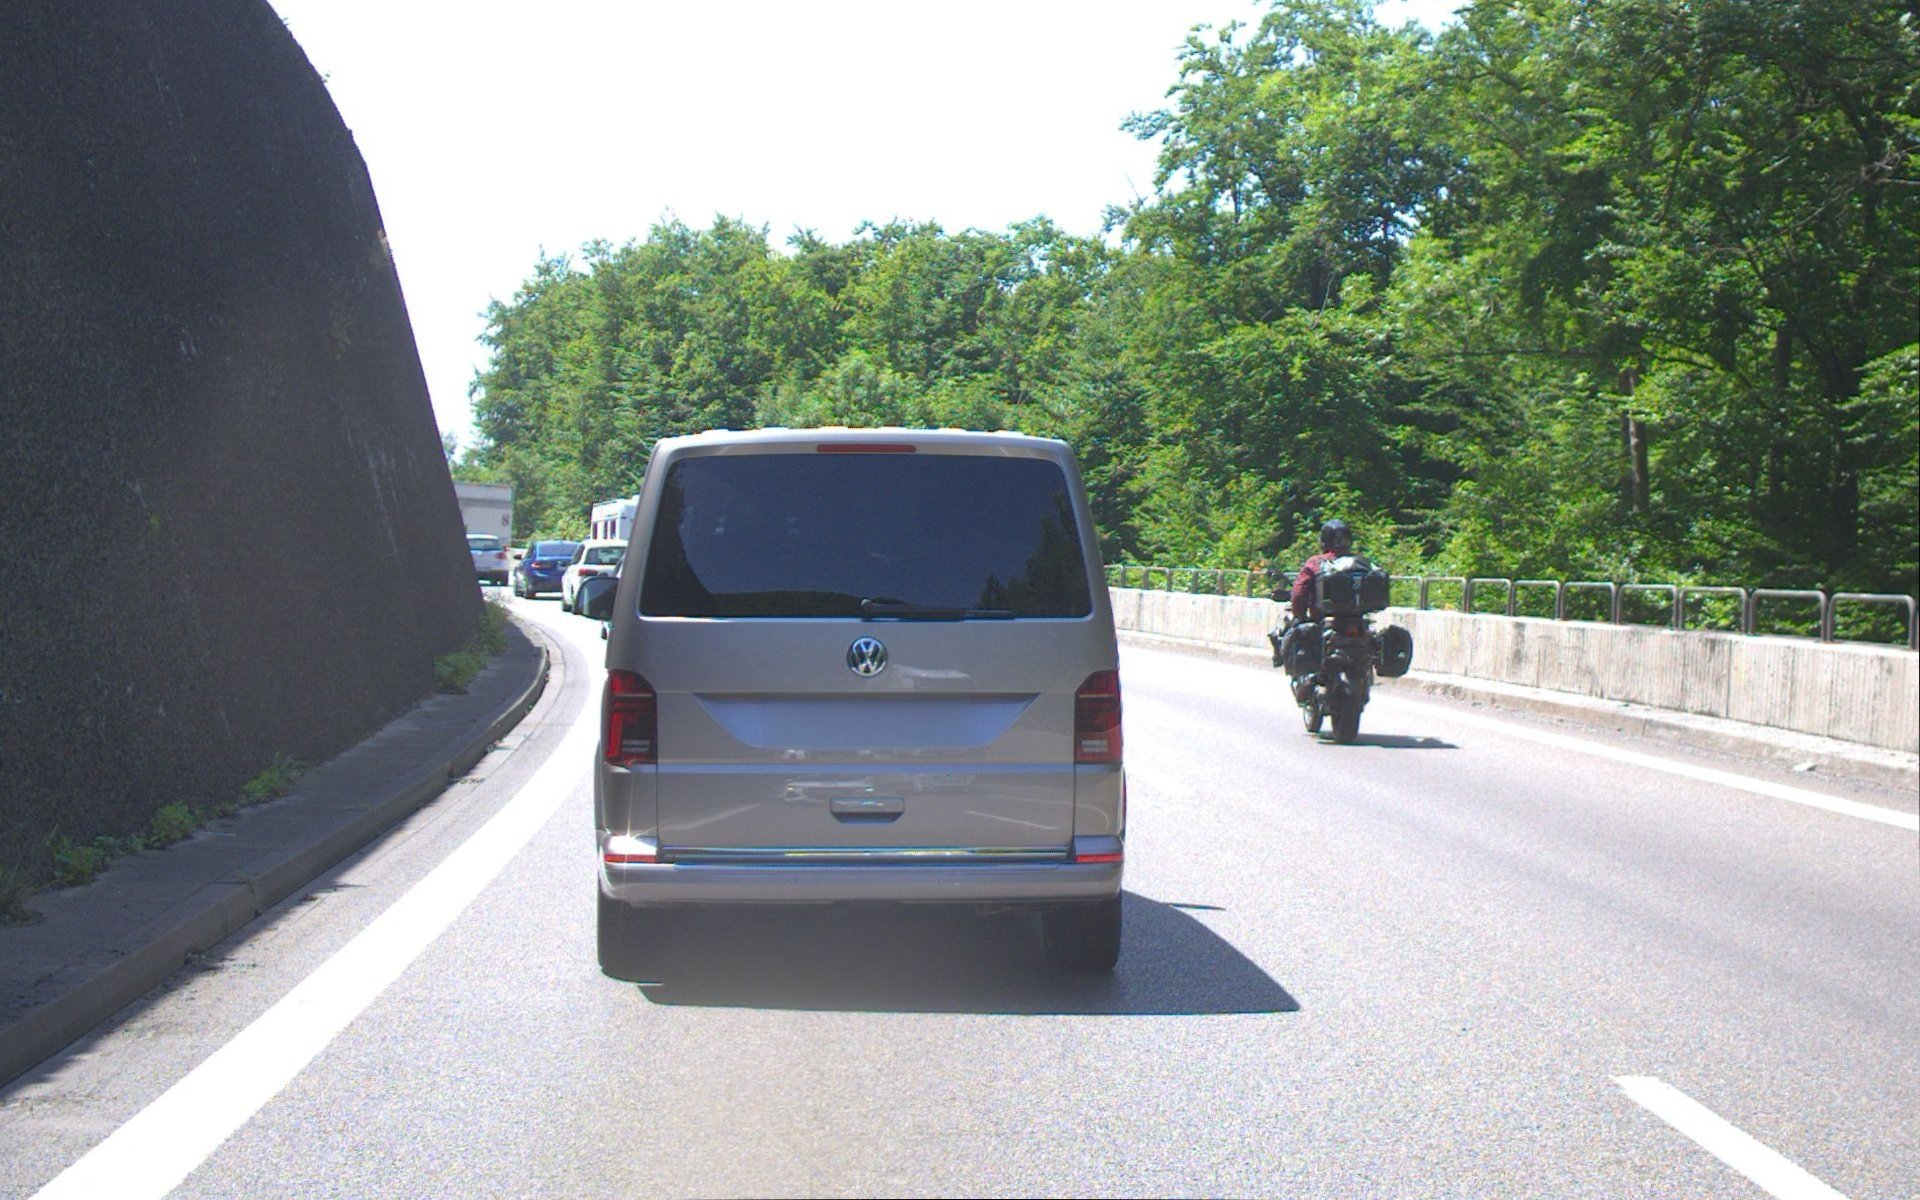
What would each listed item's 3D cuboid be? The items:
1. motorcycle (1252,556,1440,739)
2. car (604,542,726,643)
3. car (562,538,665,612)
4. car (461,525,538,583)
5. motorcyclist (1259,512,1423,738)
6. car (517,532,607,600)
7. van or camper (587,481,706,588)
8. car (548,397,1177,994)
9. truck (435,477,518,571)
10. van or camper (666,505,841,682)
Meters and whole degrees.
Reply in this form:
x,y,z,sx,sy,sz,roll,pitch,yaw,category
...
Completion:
x,y,z,sx,sy,sz,roll,pitch,yaw,category
3.153,0.358,28.410,0.972,1.415,2.681,1,1,-6,motorcycle
-4.527,-0.146,53.035,1.771,1.467,4.001,1,1,-4,car
-7.288,-0.548,71.981,1.862,1.481,4.001,1,1,-9,car
-13.520,-1.354,100.856,1.993,1.612,4.001,1,1,-11,car
3.121,0.190,28.278,1.060,1.794,1.338,1,1,-5,motorcyclist
-9.884,-0.859,85.190,1.857,1.614,4.001,1,1,-11,car
-9.325,-1.969,101.633,2.603,2.845,6.338,5,1,-11,van or camper
-0.588,0.285,13.636,1.940,1.924,4.695,1,1,-8,car
-20.026,-3.128,142.039,2.924,3.674,7.726,1,1,-11,truck
-2.458,-0.103,40.130,1.853,1.935,4.166,1,1,-6,van or camper
